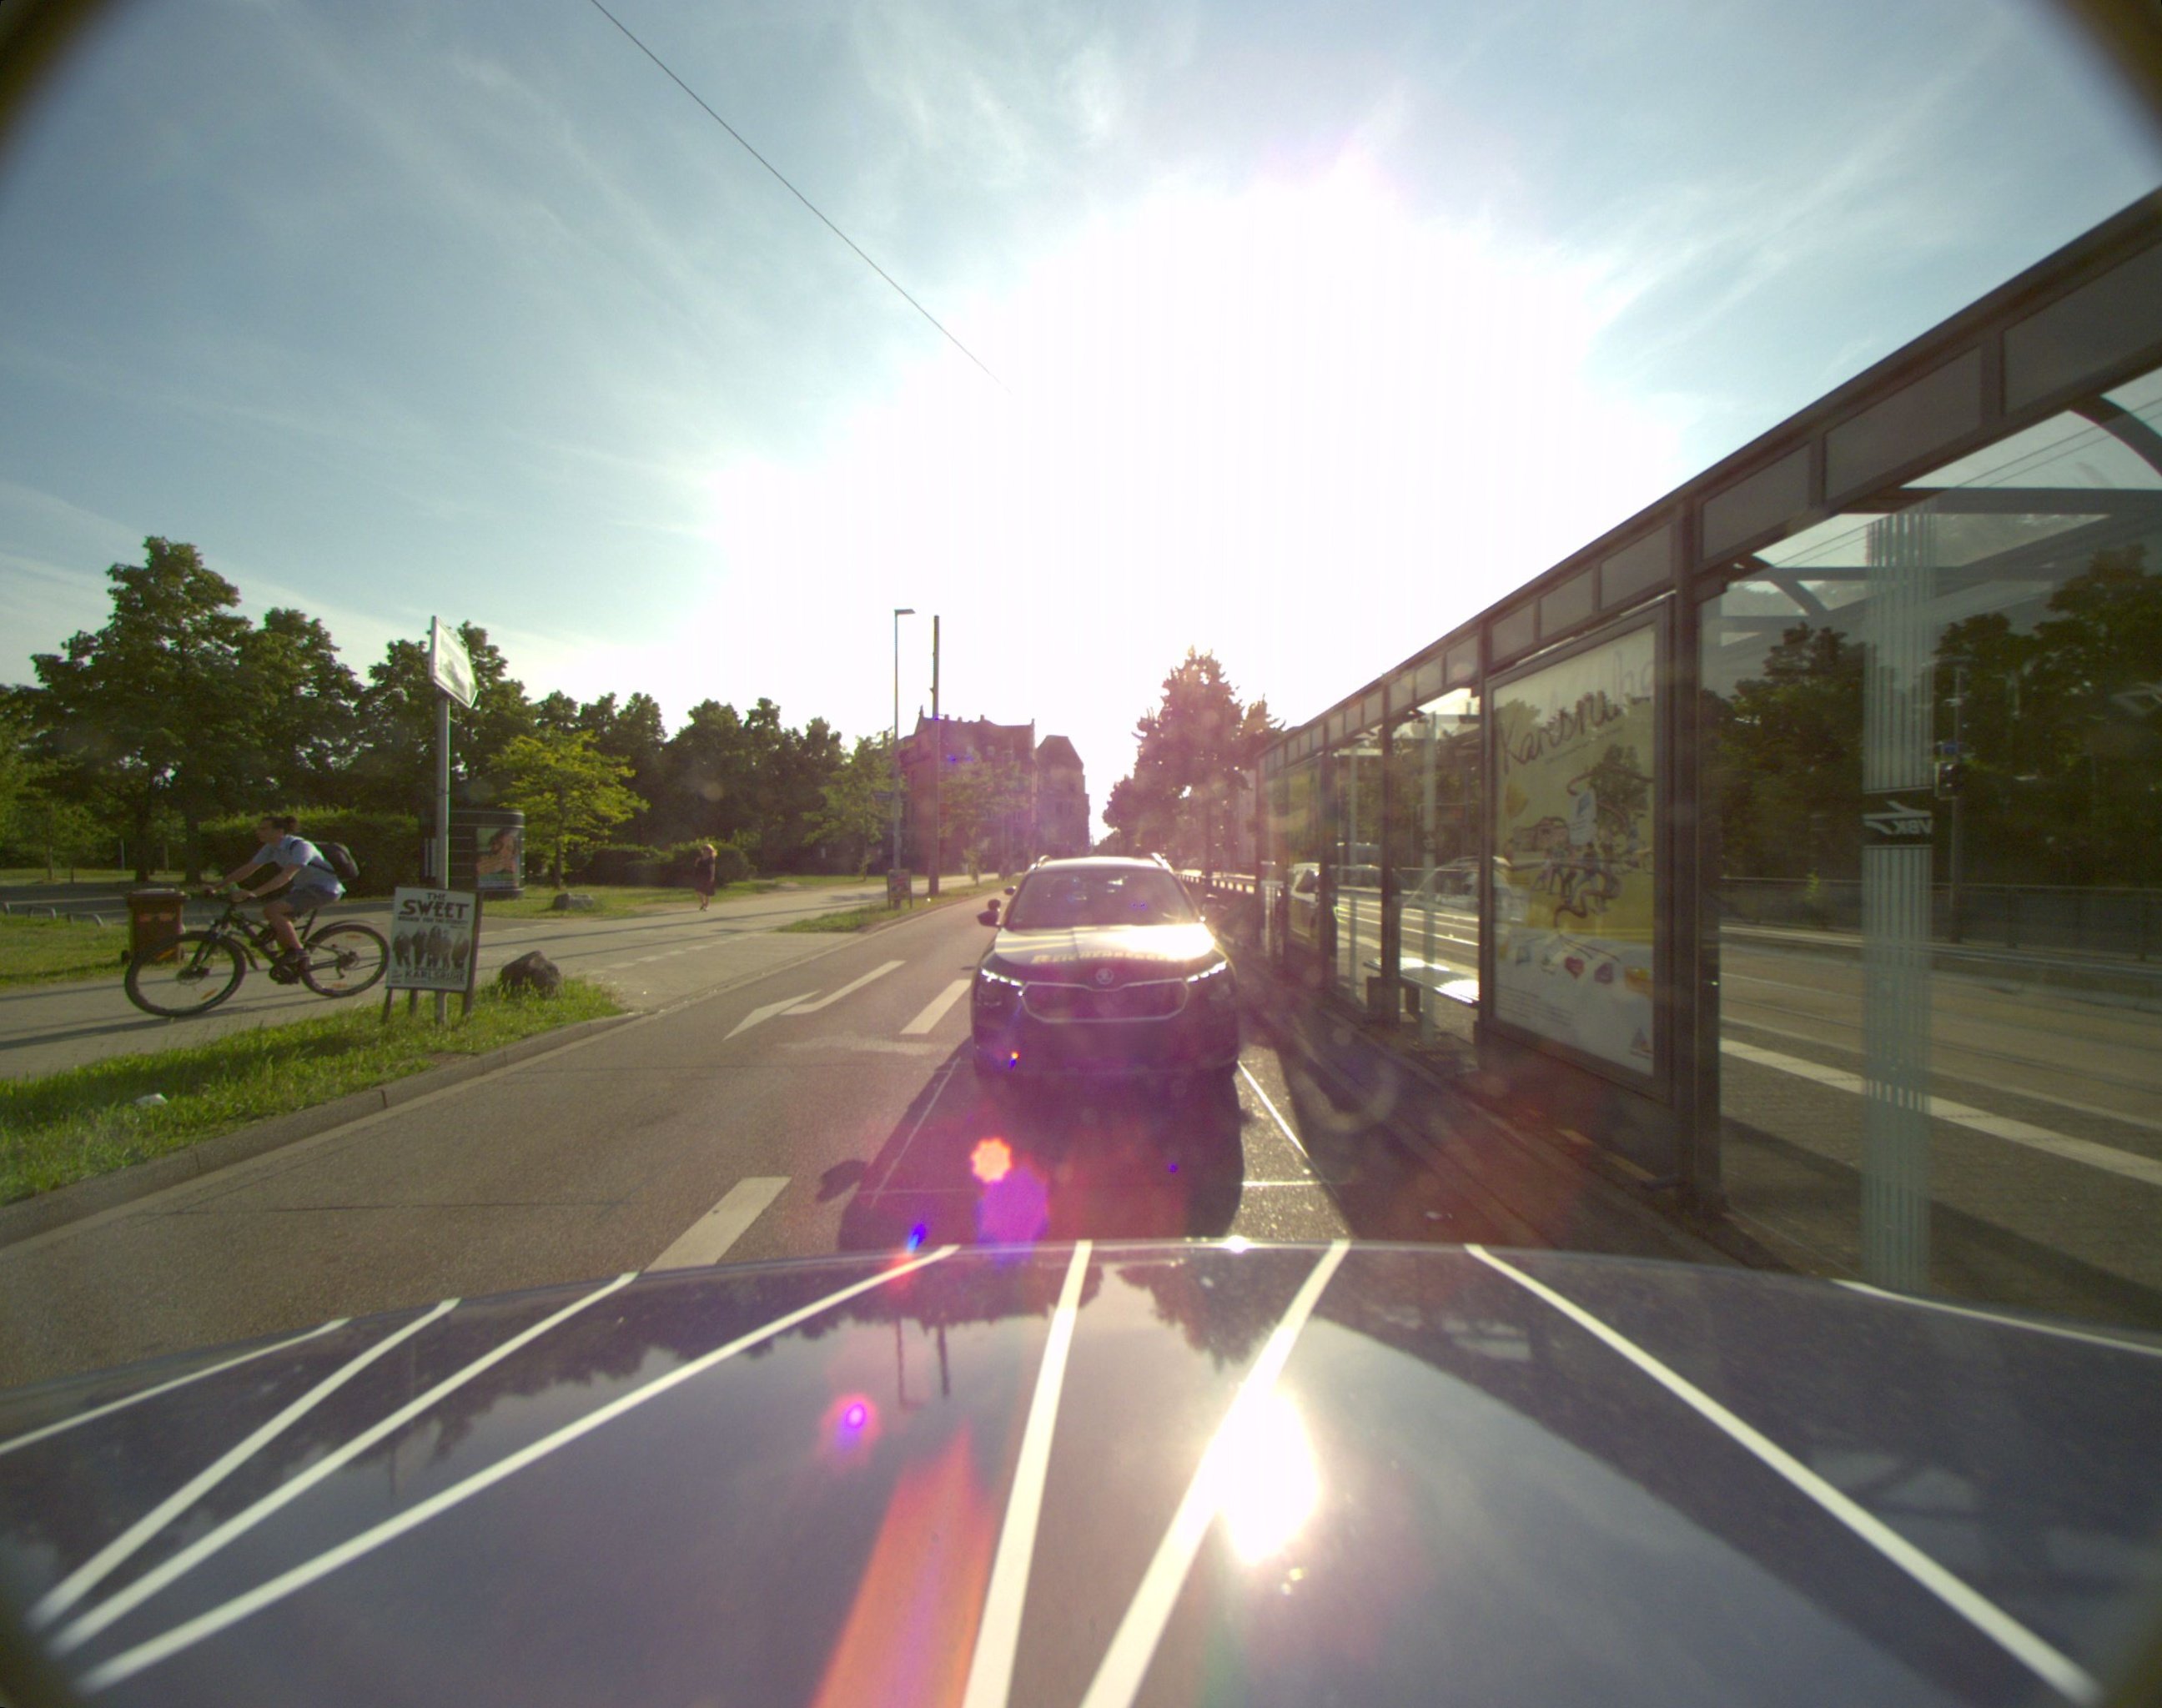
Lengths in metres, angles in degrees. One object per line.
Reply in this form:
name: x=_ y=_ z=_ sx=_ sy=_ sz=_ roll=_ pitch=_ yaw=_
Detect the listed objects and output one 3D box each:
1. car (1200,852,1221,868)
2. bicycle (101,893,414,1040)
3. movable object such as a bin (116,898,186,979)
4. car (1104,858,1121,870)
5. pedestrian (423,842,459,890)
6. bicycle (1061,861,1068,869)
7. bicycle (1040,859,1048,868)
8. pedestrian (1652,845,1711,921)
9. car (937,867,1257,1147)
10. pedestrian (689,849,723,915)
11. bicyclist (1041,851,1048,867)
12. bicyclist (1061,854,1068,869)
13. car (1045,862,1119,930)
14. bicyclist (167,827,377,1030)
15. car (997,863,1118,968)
car: x=17.080 y=0.751 z=100.381 sx=1.998 sy=2.002 sz=4.000 roll=0 pitch=0 yaw=0
bicycle: x=-7.615 y=0.966 z=7.194 sx=0.641 sy=1.081 sz=1.942 roll=3 pitch=0 yaw=11
movable object such as a bin: x=-11.301 y=1.010 z=9.243 sx=0.502 sy=0.898 sz=0.526 roll=1 pitch=1 yaw=39
car: x=4.253 y=1.330 z=101.990 sx=1.999 sy=1.674 sz=3.999 roll=0 pitch=0 yaw=-1
pedestrian: x=-28.806 y=0.525 z=34.212 sx=0.910 sy=2.145 sz=0.891 roll=0 pitch=0 yaw=13
bicycle: x=-1.891 y=1.221 z=86.727 sx=0.740 sy=0.912 sz=2.094 roll=0 pitch=0 yaw=0
bicycle: x=-4.128 y=1.054 z=84.883 sx=0.740 sy=0.912 sz=2.095 roll=0 pitch=0 yaw=1
pedestrian: x=13.076 y=0.624 z=16.566 sx=0.736 sy=1.618 sz=0.689 roll=0 pitch=0 yaw=1
car: x=0.111 y=0.888 z=6.243 sx=1.781 sy=1.496 sz=4.000 roll=0 pitch=0 yaw=1
pedestrian: x=-9.689 y=0.715 z=19.649 sx=0.558 sy=1.691 sz=0.662 roll=0 pitch=1 yaw=0
bicyclist: x=-4.115 y=0.582 z=84.829 sx=0.754 sy=1.763 sz=1.118 roll=0 pitch=0 yaw=0
bicyclist: x=-1.890 y=0.859 z=86.792 sx=0.730 sy=1.763 sz=1.015 roll=0 pitch=0 yaw=0
car: x=0.052 y=0.967 z=19.085 sx=1.672 sy=1.496 sz=3.872 roll=0 pitch=0 yaw=1
bicyclist: x=-7.590 y=0.647 z=7.191 sx=0.650 sy=1.735 sz=1.141 roll=3 pitch=1 yaw=11
car: x=-0.326 y=0.935 z=13.241 sx=1.781 sy=1.496 sz=4.000 roll=0 pitch=0 yaw=1
